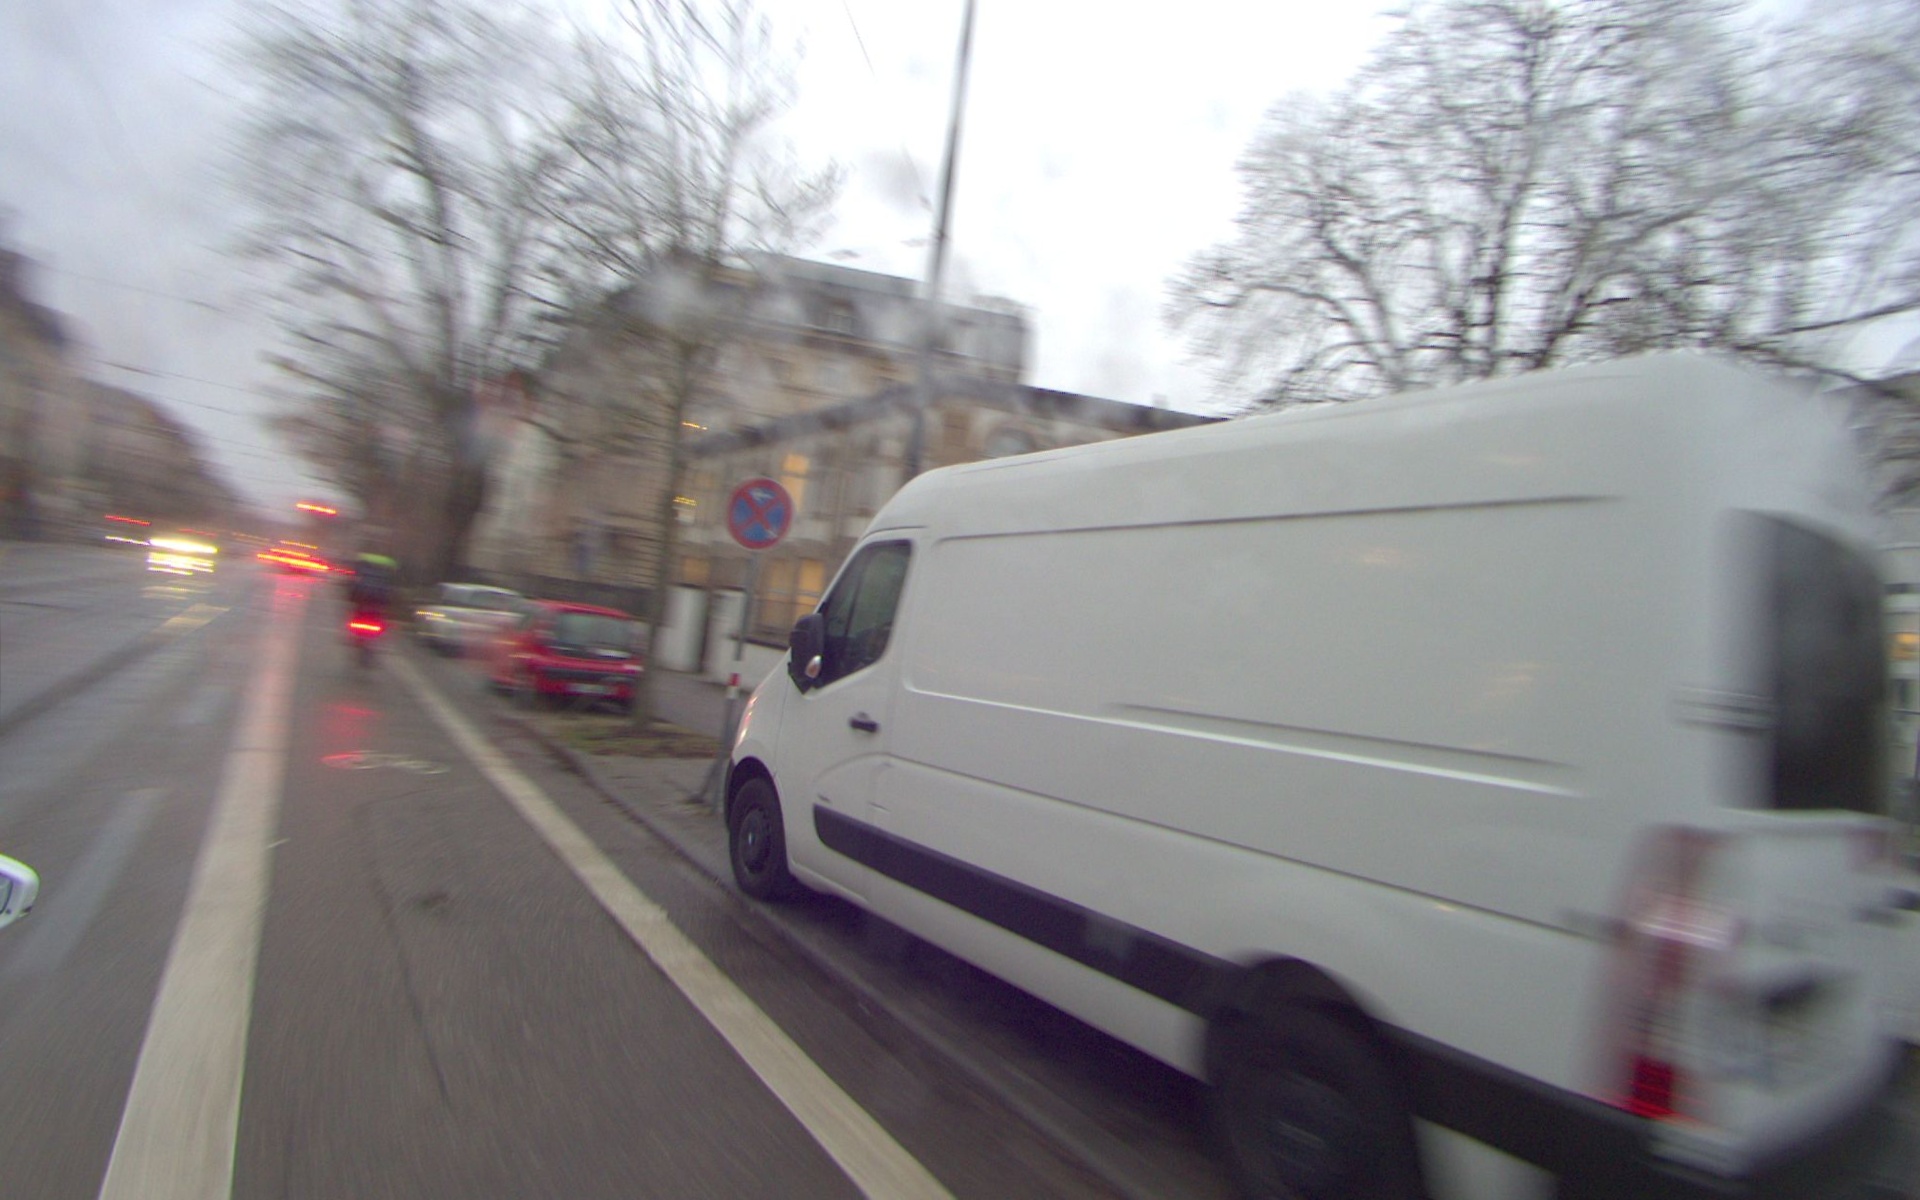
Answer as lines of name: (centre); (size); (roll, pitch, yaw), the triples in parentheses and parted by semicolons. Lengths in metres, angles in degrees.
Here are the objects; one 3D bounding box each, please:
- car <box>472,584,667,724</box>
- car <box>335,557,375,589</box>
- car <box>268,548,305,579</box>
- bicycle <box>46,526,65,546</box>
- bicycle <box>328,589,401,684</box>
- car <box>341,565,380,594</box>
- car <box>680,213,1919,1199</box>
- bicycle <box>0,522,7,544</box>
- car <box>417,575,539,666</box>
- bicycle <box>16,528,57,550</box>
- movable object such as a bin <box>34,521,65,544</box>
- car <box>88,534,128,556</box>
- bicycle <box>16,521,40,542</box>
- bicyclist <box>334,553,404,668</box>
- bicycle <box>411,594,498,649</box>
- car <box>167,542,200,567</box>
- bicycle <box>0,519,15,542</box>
car: (-5.804, 0.723, 14.722); (1.635, 1.540, 3.538); (10, -2, -36)
car: (-43.137, -1.953, 71.673); (1.982, 1.922, 4.981); (8, -2, -34)
car: (-50.686, -2.707, 75.667); (1.984, 1.917, 4.718); (10, -4, -34)
bicycle: (-53.882, -3.819, 59.933); (0.611, 1.093, 1.792); (8, -1, -38)
bicycle: (-8.258, 0.475, 13.976); (0.702, 1.109, 2.013); (8, -1, -31)
car: (-36.983, -1.266, 62.028); (1.668, 1.477, 4.006); (8, -2, -34)
car: (0.831, 0.520, 4.677); (2.113, 2.516, 5.386); (8, -2, -36)
bicycle: (-47.295, -3.323, 49.324); (0.690, 1.043, 1.578); (8, -3, -43)
car: (-10.464, 0.397, 21.702); (1.682, 1.537, 3.604); (8, -2, -35)
bicycle: (-58.220, -3.854, 63.440); (1.798, 1.093, 0.609); (9, -2, -41)
movable object such as a bin: (-68.241, -5.052, 75.411); (1.401, 1.548, 1.352); (8, -1, -34)
car: (-69.065, -4.435, 81.596); (1.823, 1.464, 3.965); (8, -2, -34)
bicycle: (-51.031, -3.760, 55.070); (0.622, 1.029, 1.789); (7, -1, -35)
bicyclist: (-8.111, 0.135, 13.820); (0.651, 1.463, 0.842); (8, -1, -31)
bicycle: (-12.050, 0.515, 23.997); (1.703, 1.083, 0.657); (9, -1, -34)
car: (-73.185, -4.331, 94.887); (2.035, 1.944, 5.052); (8, -2, -35)
bicycle: (-48.344, -3.506, 50.847); (0.483, 1.112, 1.913); (7, -1, -35)
